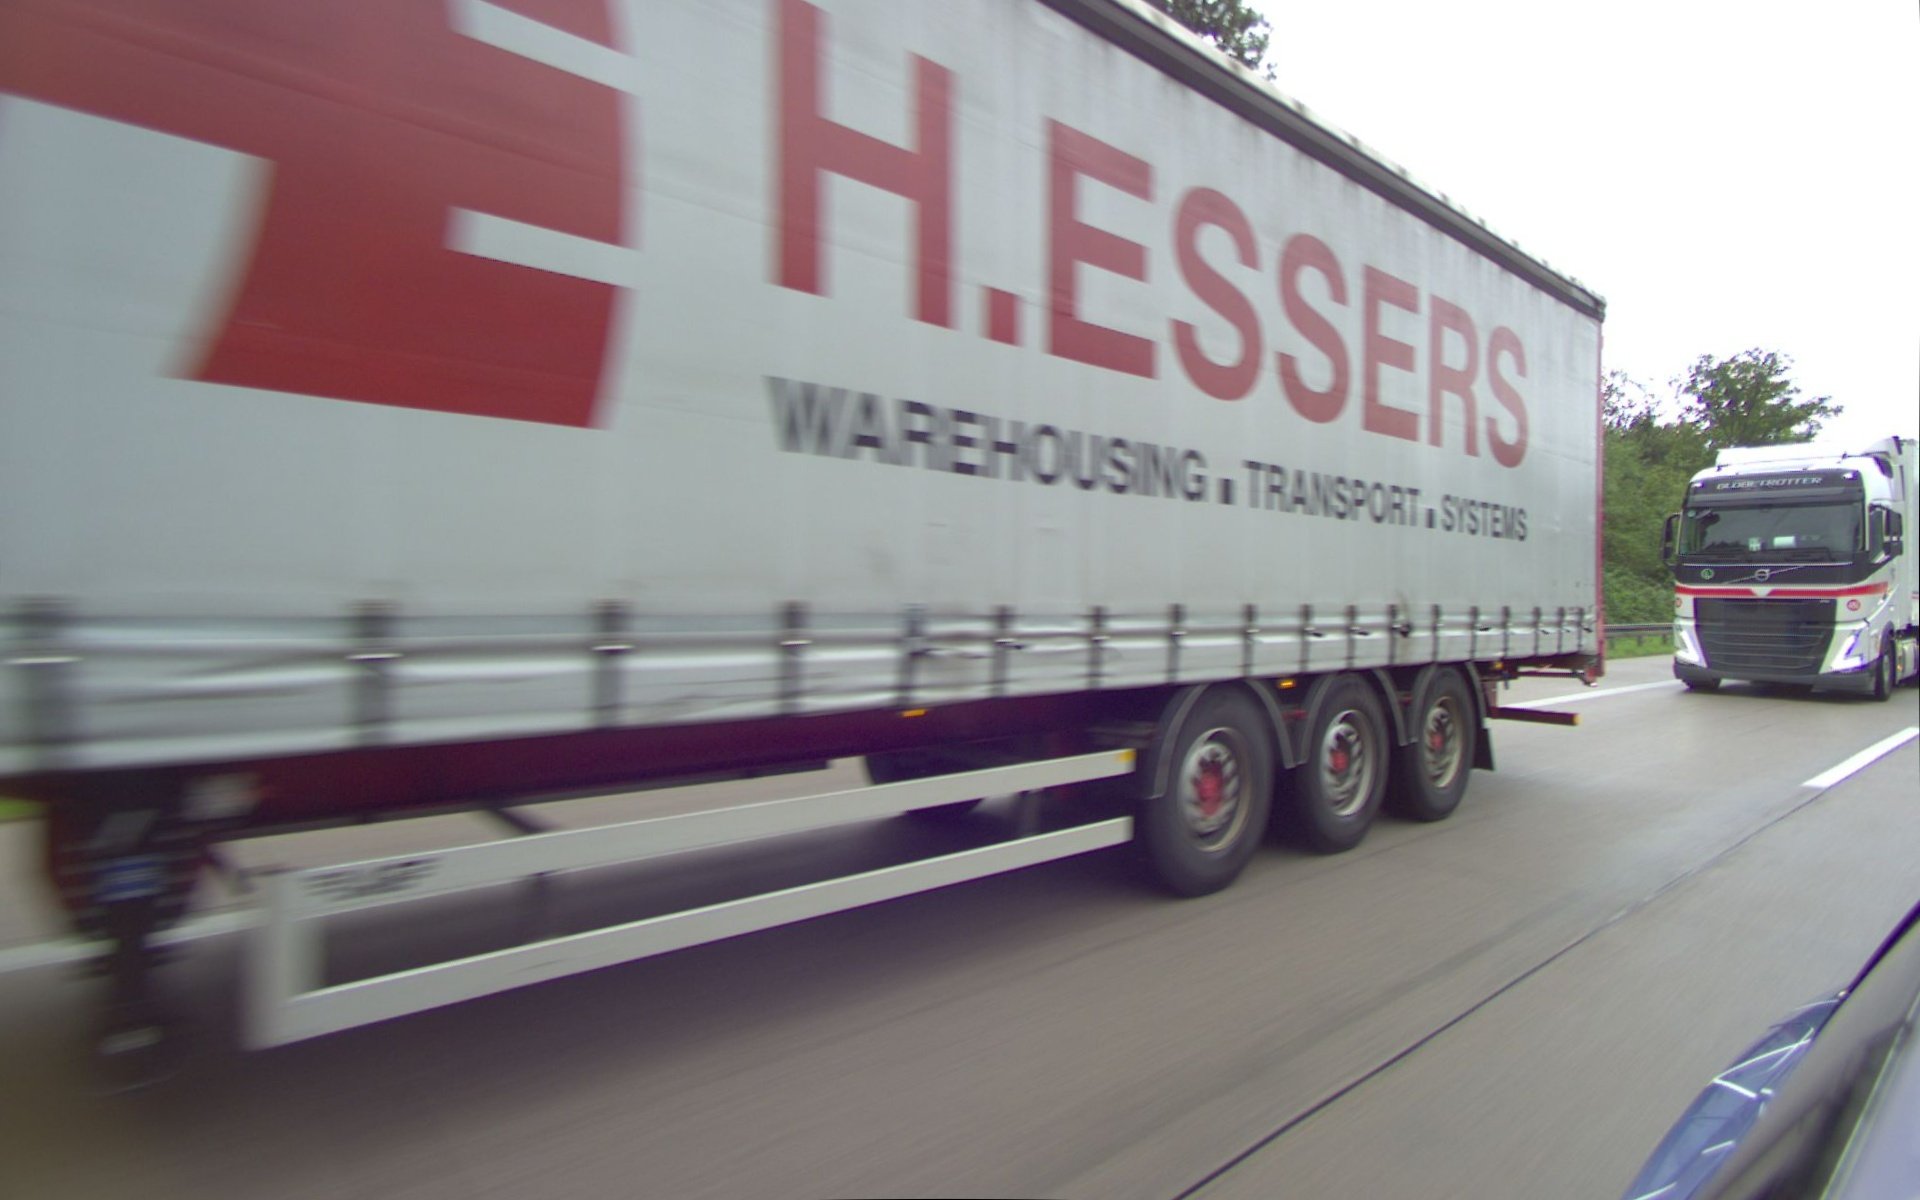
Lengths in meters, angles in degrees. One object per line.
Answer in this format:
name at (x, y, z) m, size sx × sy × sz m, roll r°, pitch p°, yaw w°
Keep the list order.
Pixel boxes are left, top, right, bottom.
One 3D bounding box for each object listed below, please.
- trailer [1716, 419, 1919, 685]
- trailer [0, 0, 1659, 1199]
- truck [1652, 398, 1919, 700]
trailer at (19.432, -0.771, 20.971) m, size 13.434 × 4.155 × 2.741 m, roll 0°, pitch 0°, yaw -39°
trailer at (0.001, -0.628, 4.884) m, size 12.298 × 4.003 × 2.375 m, roll 0°, pitch 1°, yaw -40°
truck at (14.239, -0.722, 16.858) m, size 5.858 × 4.156 × 2.806 m, roll 0°, pitch 0°, yaw -38°
